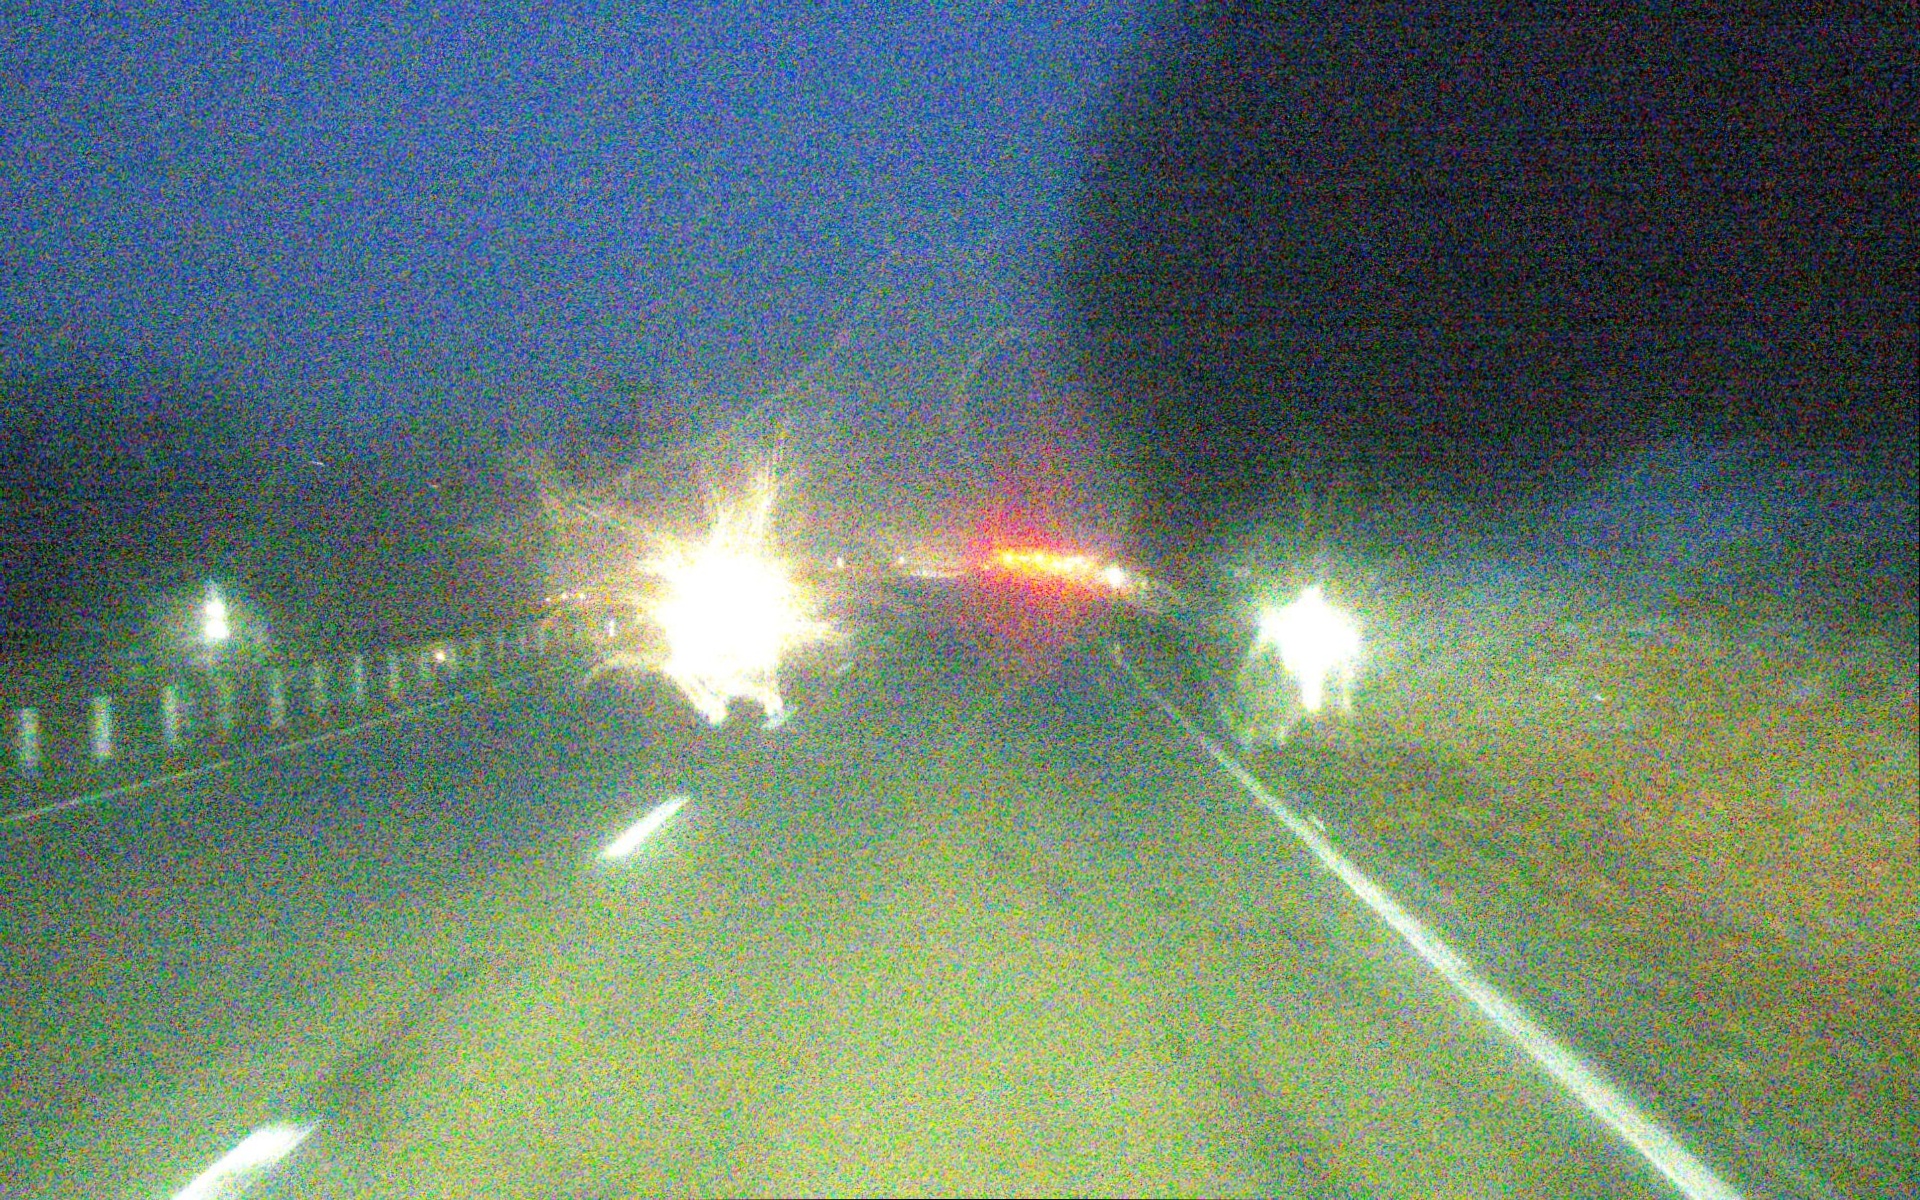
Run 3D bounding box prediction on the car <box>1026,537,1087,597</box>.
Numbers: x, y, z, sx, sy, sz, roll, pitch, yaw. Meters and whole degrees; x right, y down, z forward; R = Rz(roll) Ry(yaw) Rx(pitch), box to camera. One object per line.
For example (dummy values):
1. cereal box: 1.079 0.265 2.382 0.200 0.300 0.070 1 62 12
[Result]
1. car: 3.553 -1.192 125.763 2.197 2.007 4.206 0 -2 2
